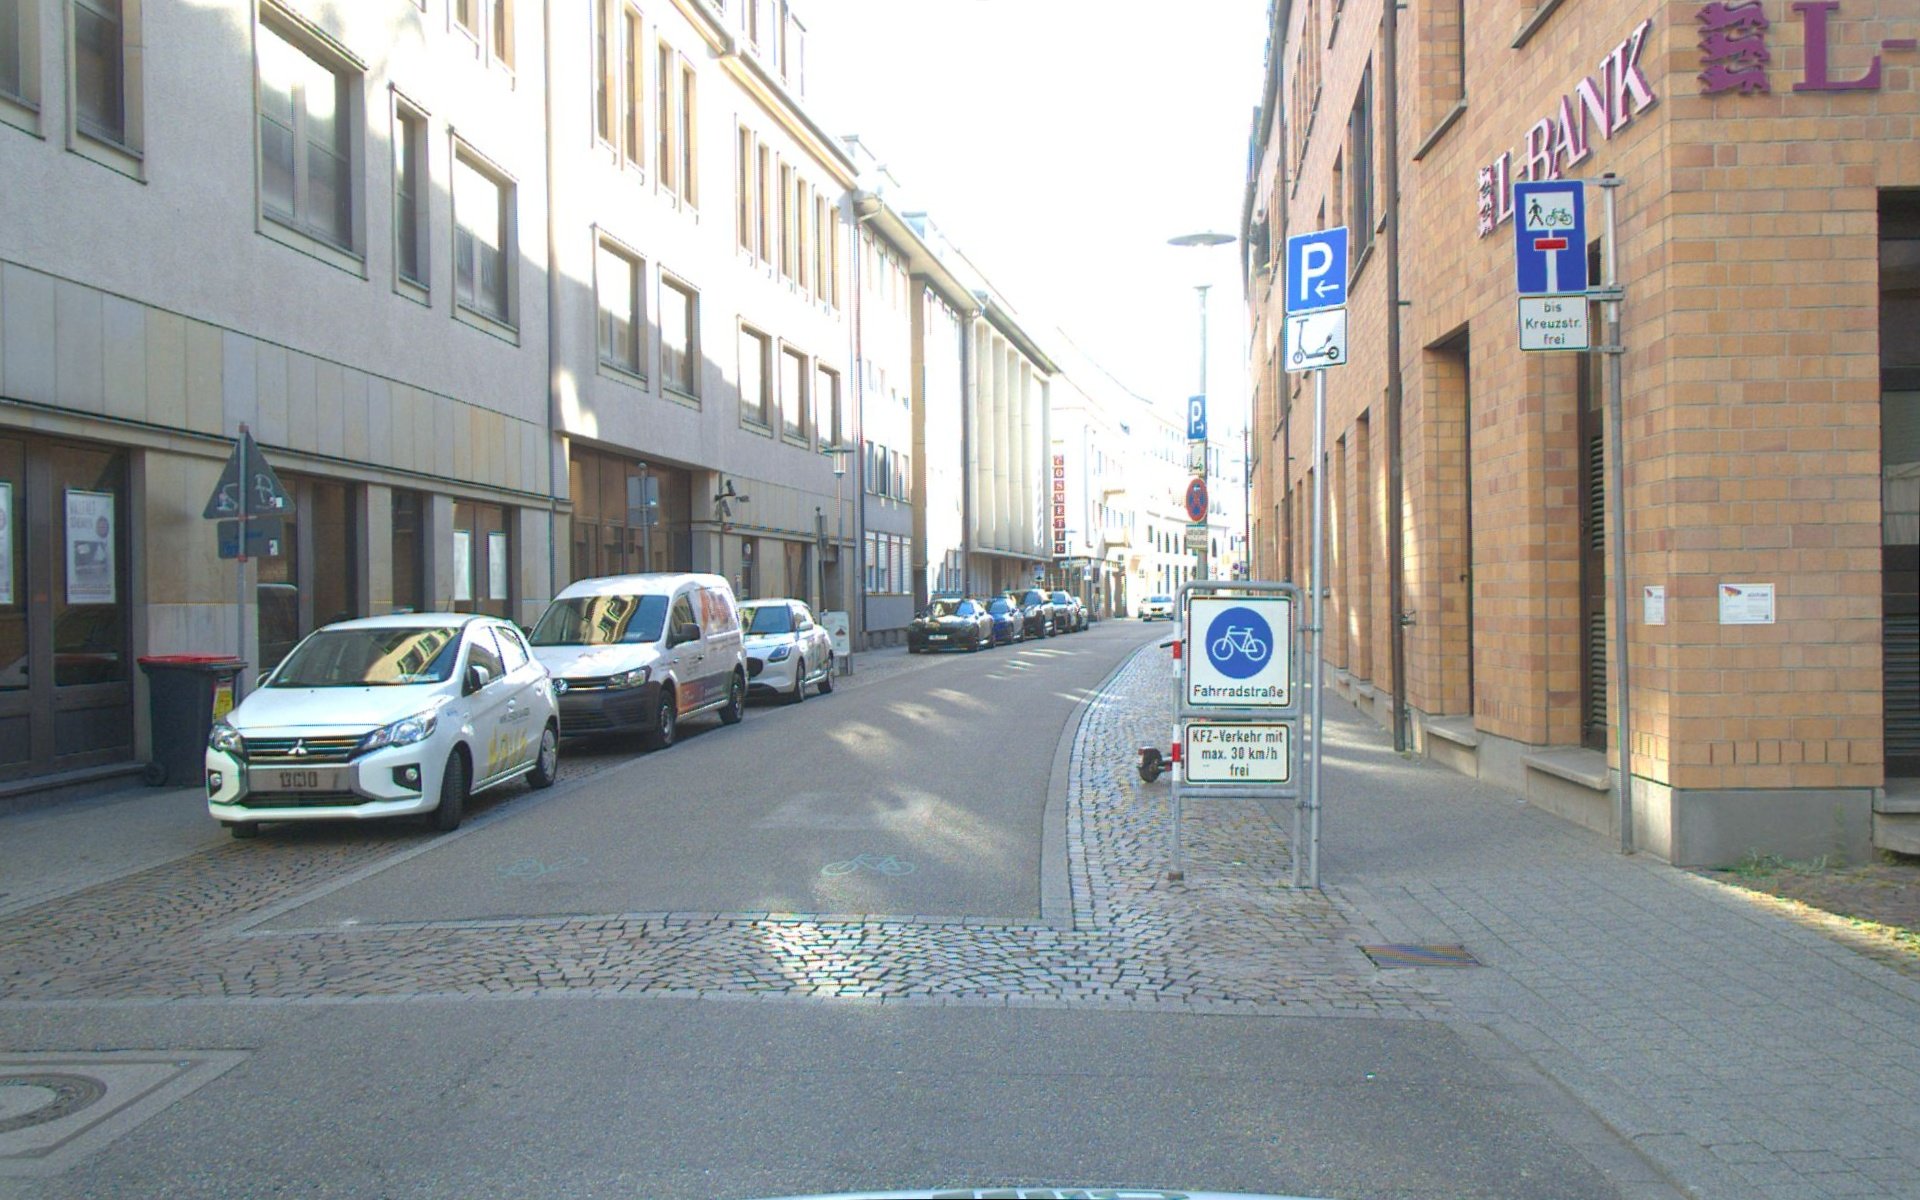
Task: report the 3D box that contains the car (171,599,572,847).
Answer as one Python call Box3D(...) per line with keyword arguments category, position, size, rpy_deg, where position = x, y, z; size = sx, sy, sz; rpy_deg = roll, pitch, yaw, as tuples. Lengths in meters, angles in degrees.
Box3D(category="car", position=(-4.261, 0.795, 12.617), size=(1.636, 1.533, 3.794), rpy_deg=(-2, 0, 0))

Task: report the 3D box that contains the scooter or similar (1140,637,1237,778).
Box3D(category="scooter or similar", position=(1.933, 0.908, 14.026), size=(0.754, 1.156, 0.269), rpy_deg=(2, -1, 2))

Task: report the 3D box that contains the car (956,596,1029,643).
Box3D(category="car", position=(1.043, 0.584, 51.629), size=(1.687, 1.364, 4.004), rpy_deg=(-1, 0, 9))

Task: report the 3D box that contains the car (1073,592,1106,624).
Box3D(category="car", position=(6.420, 0.385, 81.920), size=(1.310, 1.520, 3.350), rpy_deg=(-1, 0, 9))

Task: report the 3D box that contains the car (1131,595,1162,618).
Box3D(category="car", position=(12.088, 0.395, 107.123), size=(1.653, 1.394, 3.621), rpy_deg=(-1, 0, 11))

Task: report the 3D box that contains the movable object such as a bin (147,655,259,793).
Box3D(category="movable object such as a bin", position=(-6.280, 1.019, 13.749), size=(0.596, 1.079, 0.713), rpy_deg=(2, -1, -3))

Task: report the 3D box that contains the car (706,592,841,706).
Box3D(category="car", position=(-2.713, 0.669, 24.682), size=(1.244, 1.533, 3.404), rpy_deg=(-2, 0, 6))

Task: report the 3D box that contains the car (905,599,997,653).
Box3D(category="car", position=(-0.196, 0.673, 45.162), size=(1.841, 1.355, 4.104), rpy_deg=(-1, 0, 9))

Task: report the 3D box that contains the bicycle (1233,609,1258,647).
Box3D(category="bicycle", position=(7.893, 0.761, 45.806), size=(0.500, 1.011, 2.650), rpy_deg=(0, 0, 6))

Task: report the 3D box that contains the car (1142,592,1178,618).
Box3D(category="car", position=(11.157, 0.263, 92.141), size=(1.653, 1.394, 3.621), rpy_deg=(-1, 0, 11))

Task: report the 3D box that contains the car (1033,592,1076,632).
Box3D(category="car", position=(3.727, 0.449, 64.873), size=(1.310, 1.520, 3.513), rpy_deg=(-1, 0, 9))

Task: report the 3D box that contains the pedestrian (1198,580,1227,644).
Box3D(category="pedestrian", position=(7.149, 0.340, 46.895), size=(0.651, 1.761, 0.840), rpy_deg=(2, -1, -1))

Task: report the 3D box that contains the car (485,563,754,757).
Box3D(category="car", position=(-3.623, 0.575, 18.488), size=(1.635, 1.850, 4.555), rpy_deg=(-2, 0, 5))
